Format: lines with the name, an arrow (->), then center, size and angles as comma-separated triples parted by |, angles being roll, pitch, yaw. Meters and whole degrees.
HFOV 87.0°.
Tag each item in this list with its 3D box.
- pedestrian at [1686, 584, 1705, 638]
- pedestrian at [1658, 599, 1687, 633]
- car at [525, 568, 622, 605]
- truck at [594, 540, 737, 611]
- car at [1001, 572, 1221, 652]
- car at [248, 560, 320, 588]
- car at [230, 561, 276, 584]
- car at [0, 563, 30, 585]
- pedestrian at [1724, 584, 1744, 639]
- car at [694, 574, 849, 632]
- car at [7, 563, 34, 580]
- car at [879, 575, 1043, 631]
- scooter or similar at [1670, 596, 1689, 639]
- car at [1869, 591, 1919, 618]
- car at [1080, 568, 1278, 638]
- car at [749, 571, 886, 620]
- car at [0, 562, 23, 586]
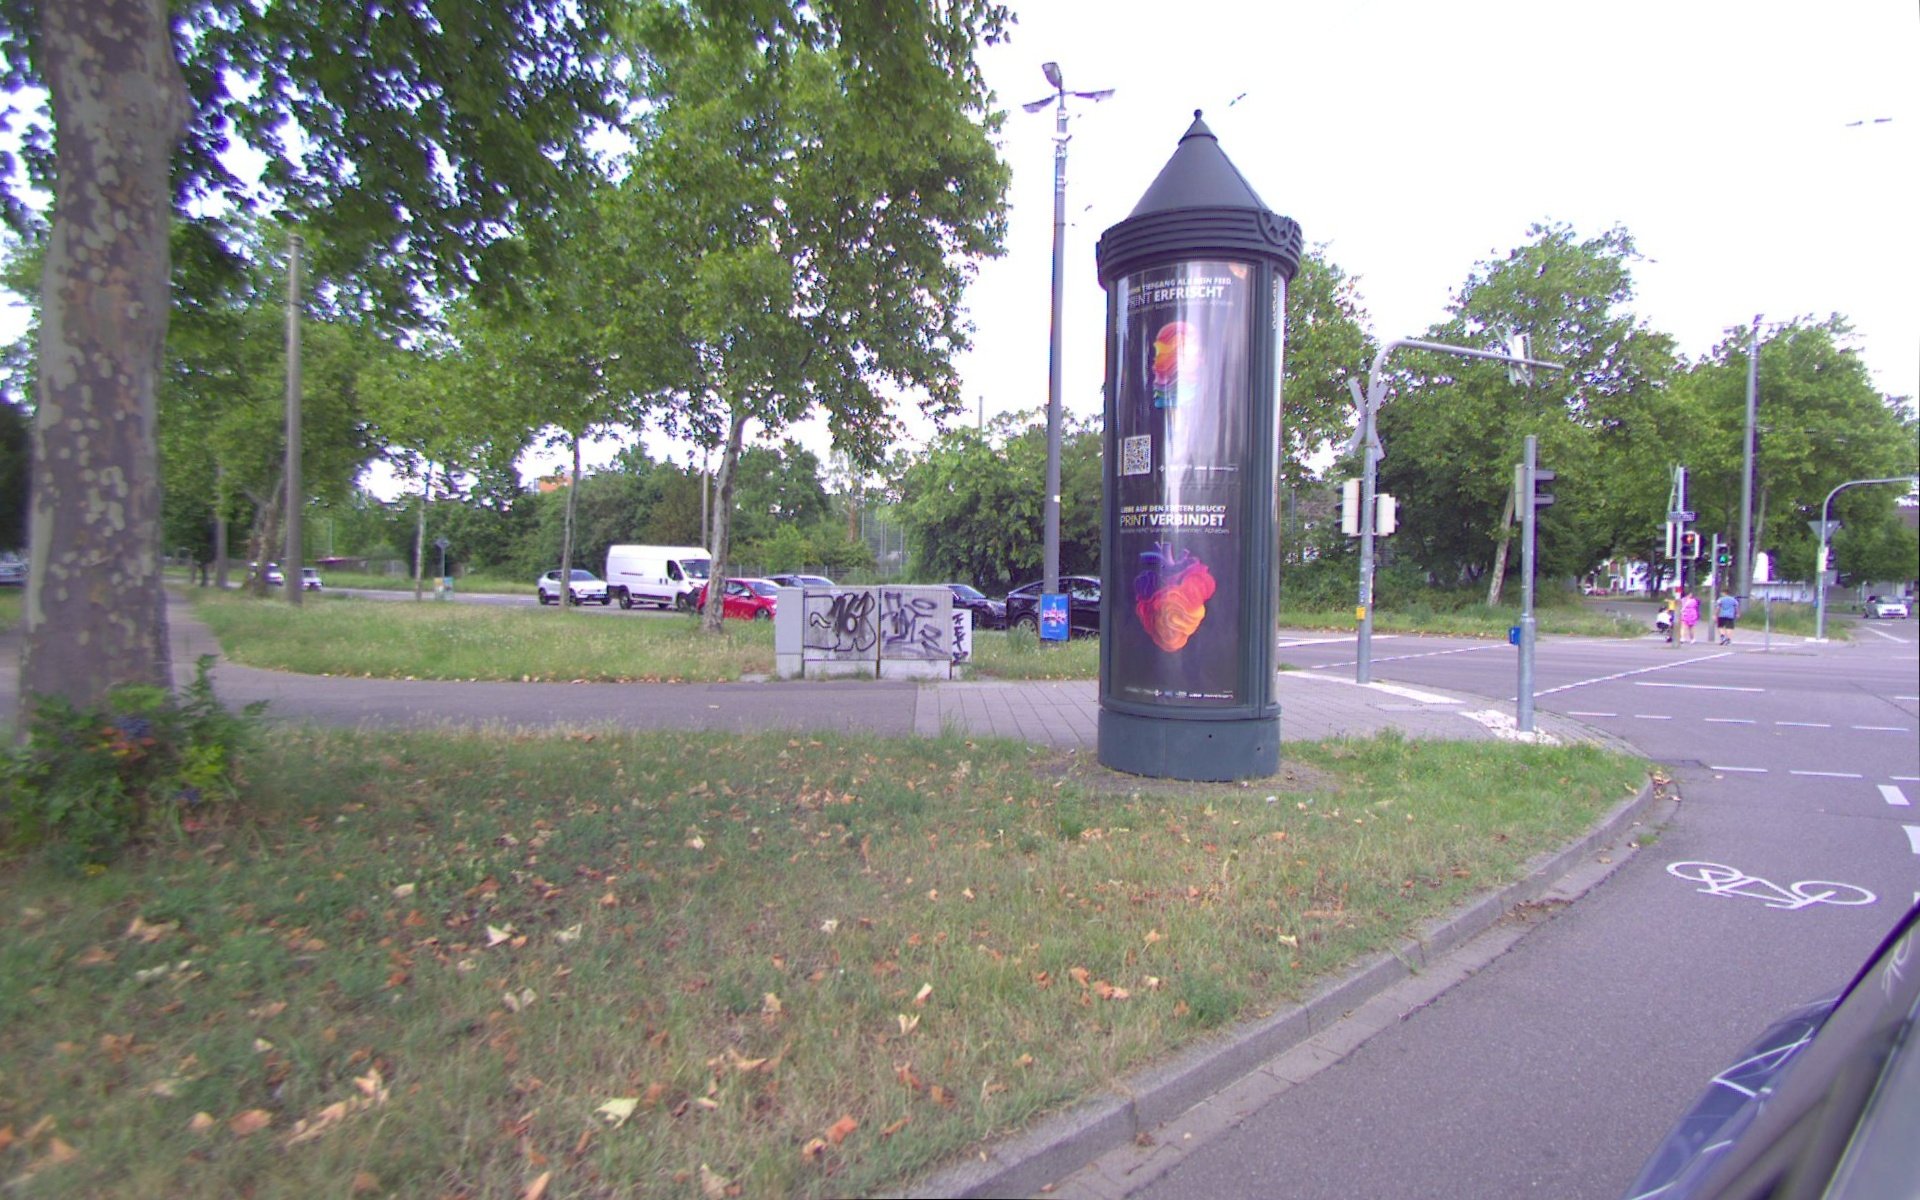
pedestrian -> 21.146, 0.312, 29.086 | 0.417, 1.527, 0.388 | 1, 1, 37
pedestrian -> 23.116, 0.511, 32.842 | 0.719, 1.047, 0.889 | 2, 1, 38
car -> -17.469, -0.660, 45.627 | 4.662, 1.532, 1.973 | 2, 2, 38
truck -> -11.810, -1.017, 40.321 | 6.477, 2.628, 2.186 | 2, 1, 39
car -> 3.405, 0.188, 23.317 | 4.663, 1.630, 1.973 | 2, 2, 38
car -> -38.930, -1.512, 58.287 | 4.658, 1.532, 1.975 | 2, 2, 36
car -> -55.382, -2.191, 79.278 | 3.982, 1.727, 1.971 | 2, 2, 40
car -> -63.305, -1.749, 67.698 | 1.651, 1.408, 3.300 | 0, 2, -43
pedestrian -> 21.735, 0.306, 28.423 | 0.417, 1.527, 0.445 | 1, 1, 36
car -> -5.669, 0.017, 30.125 | 4.662, 1.532, 1.973 | 2, 2, 38
car -> -79.204, -2.420, 85.326 | 1.651, 1.408, 3.300 | 0, 2, -43
car -> -0.016, 0.016, 30.245 | 4.724, 1.487, 1.973 | 2, 2, 38
scooter or similar -> 20.594, 0.494, 28.972 | 0.392, 1.175, 1.103 | 1, 1, 34
car -> 60.040, 0.248, 64.939 | 1.855, 1.665, 4.185 | 1, 1, 33
car -> 5.616, 0.008, 26.272 | 4.662, 1.630, 1.973 | 2, 2, 38
car -> -4.922, -0.202, 34.547 | 4.662, 1.532, 1.973 | 2, 2, 38
car -> -57.288, -1.550, 60.633 | 1.651, 1.408, 3.300 | 0, 2, -43
